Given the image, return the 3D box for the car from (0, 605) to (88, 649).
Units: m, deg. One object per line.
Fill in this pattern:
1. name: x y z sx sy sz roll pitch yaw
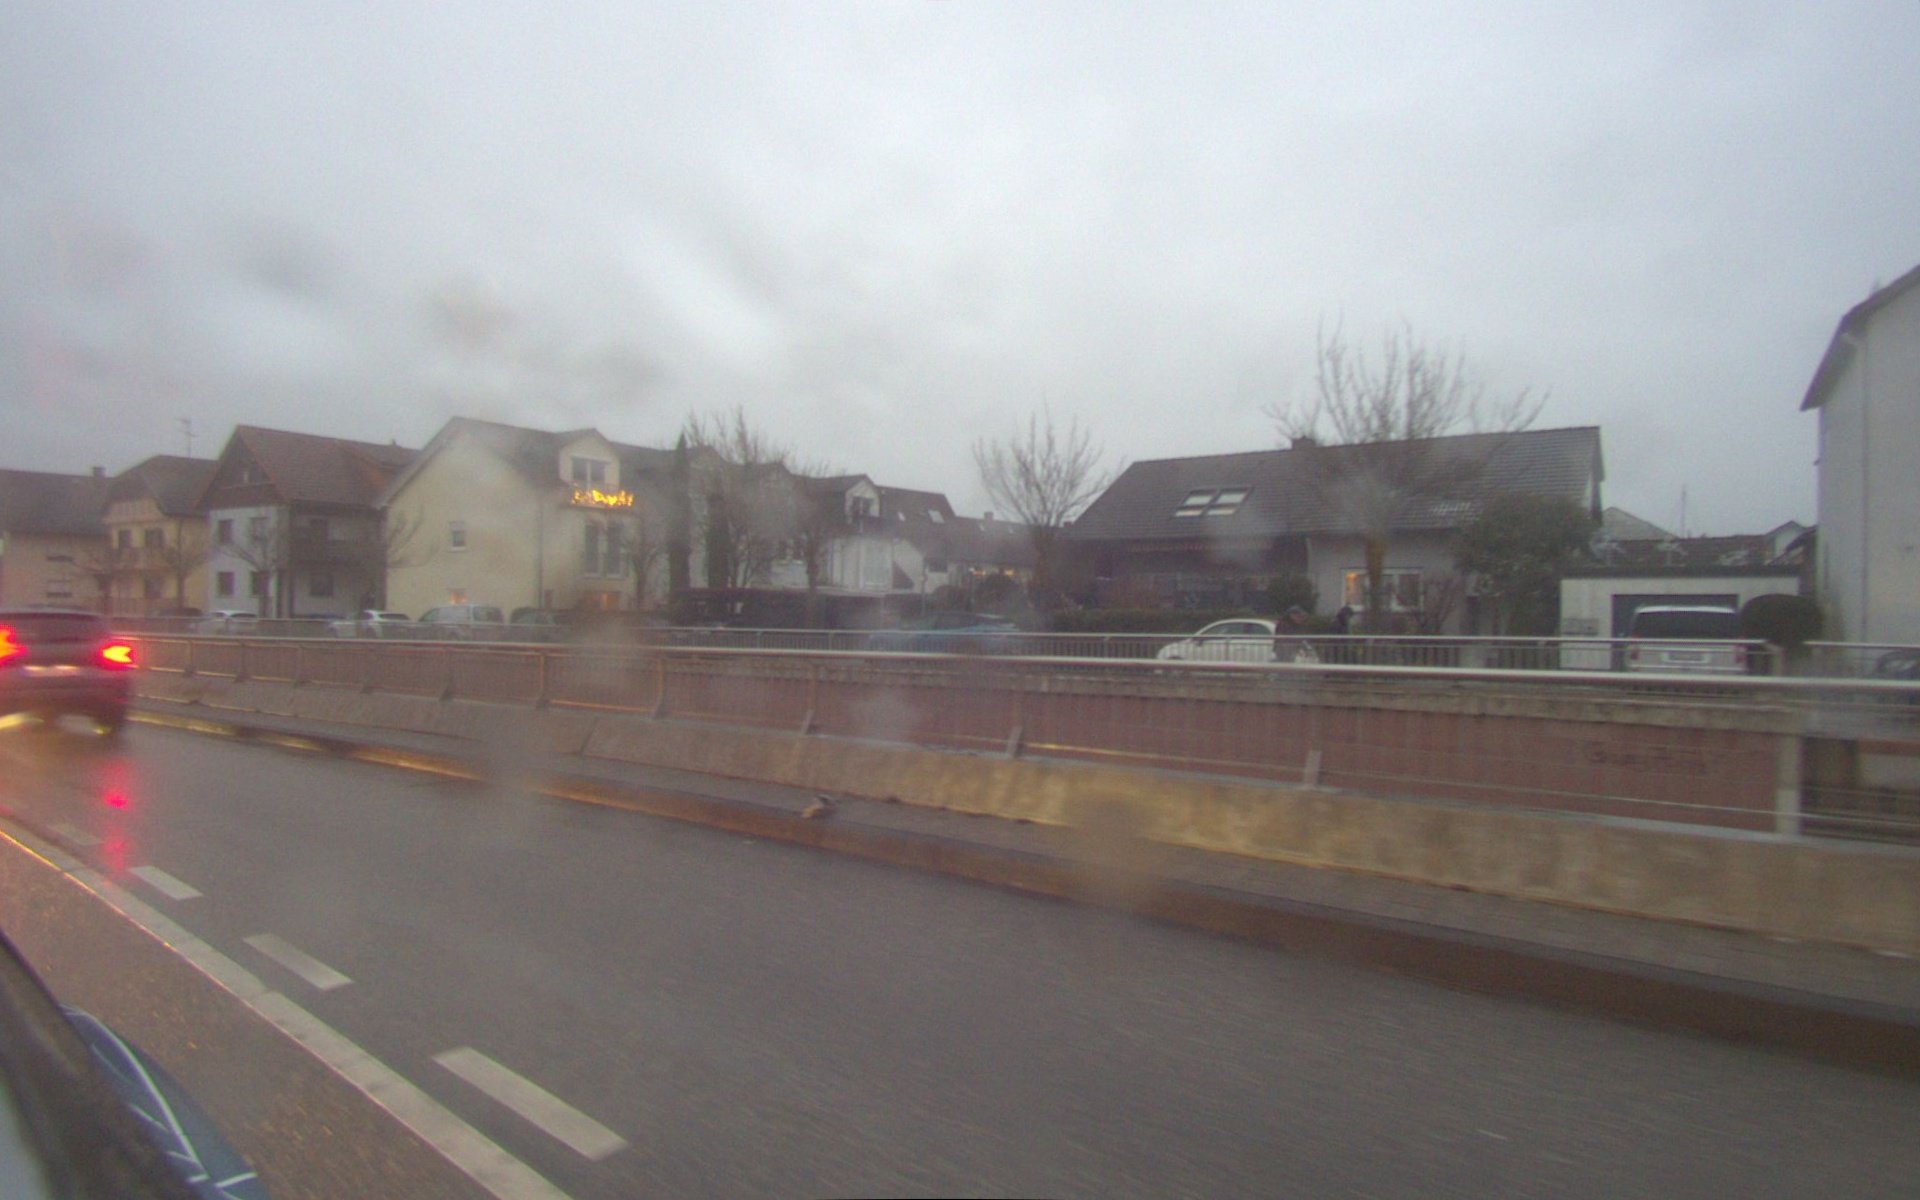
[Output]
1. car: -40.202 1.156 44.174 3.838 1.817 1.790 0 -1 24

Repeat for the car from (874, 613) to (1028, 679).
1. car: -0.263 1.190 26.642 3.807 1.592 1.553 0 -2 31

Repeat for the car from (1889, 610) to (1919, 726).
1. car: 16.214 0.974 14.354 4.209 1.695 1.894 -1 -2 36

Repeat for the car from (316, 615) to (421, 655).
1. car: -24.540 1.456 41.985 4.207 1.611 1.861 -1 -3 29

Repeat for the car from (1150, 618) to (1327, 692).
1. car: 6.041 1.146 22.113 3.452 1.438 1.469 0 -1 36

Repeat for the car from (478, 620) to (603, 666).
1. car: -15.133 1.541 36.487 4.485 1.584 1.860 -1 -3 31

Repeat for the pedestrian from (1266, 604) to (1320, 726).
1. pedestrian: 4.797 0.911 14.574 0.540 1.710 0.657 -1 0 37

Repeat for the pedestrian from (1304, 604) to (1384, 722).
1. pedestrian: 6.159 0.972 16.223 0.972 1.798 0.919 -1 0 37

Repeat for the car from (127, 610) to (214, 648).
1. car: -38.424 1.365 49.248 3.981 1.694 1.847 0 2 28

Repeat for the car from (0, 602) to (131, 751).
1. car: -12.125 0.895 12.769 3.994 1.666 1.720 -1 -2 38

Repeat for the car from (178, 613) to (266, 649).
1. car: -34.667 1.432 47.551 4.013 1.535 1.758 0 -1 28

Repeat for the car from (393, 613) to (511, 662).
1. car: -19.616 1.444 39.054 4.482 1.792 1.861 -1 -3 29

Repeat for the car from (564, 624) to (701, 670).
1. car: -10.962 1.554 33.778 4.485 1.444 1.860 -1 -3 31

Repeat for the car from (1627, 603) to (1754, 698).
1. car: 14.601 0.994 20.428 1.859 1.707 3.954 -1 -3 33
